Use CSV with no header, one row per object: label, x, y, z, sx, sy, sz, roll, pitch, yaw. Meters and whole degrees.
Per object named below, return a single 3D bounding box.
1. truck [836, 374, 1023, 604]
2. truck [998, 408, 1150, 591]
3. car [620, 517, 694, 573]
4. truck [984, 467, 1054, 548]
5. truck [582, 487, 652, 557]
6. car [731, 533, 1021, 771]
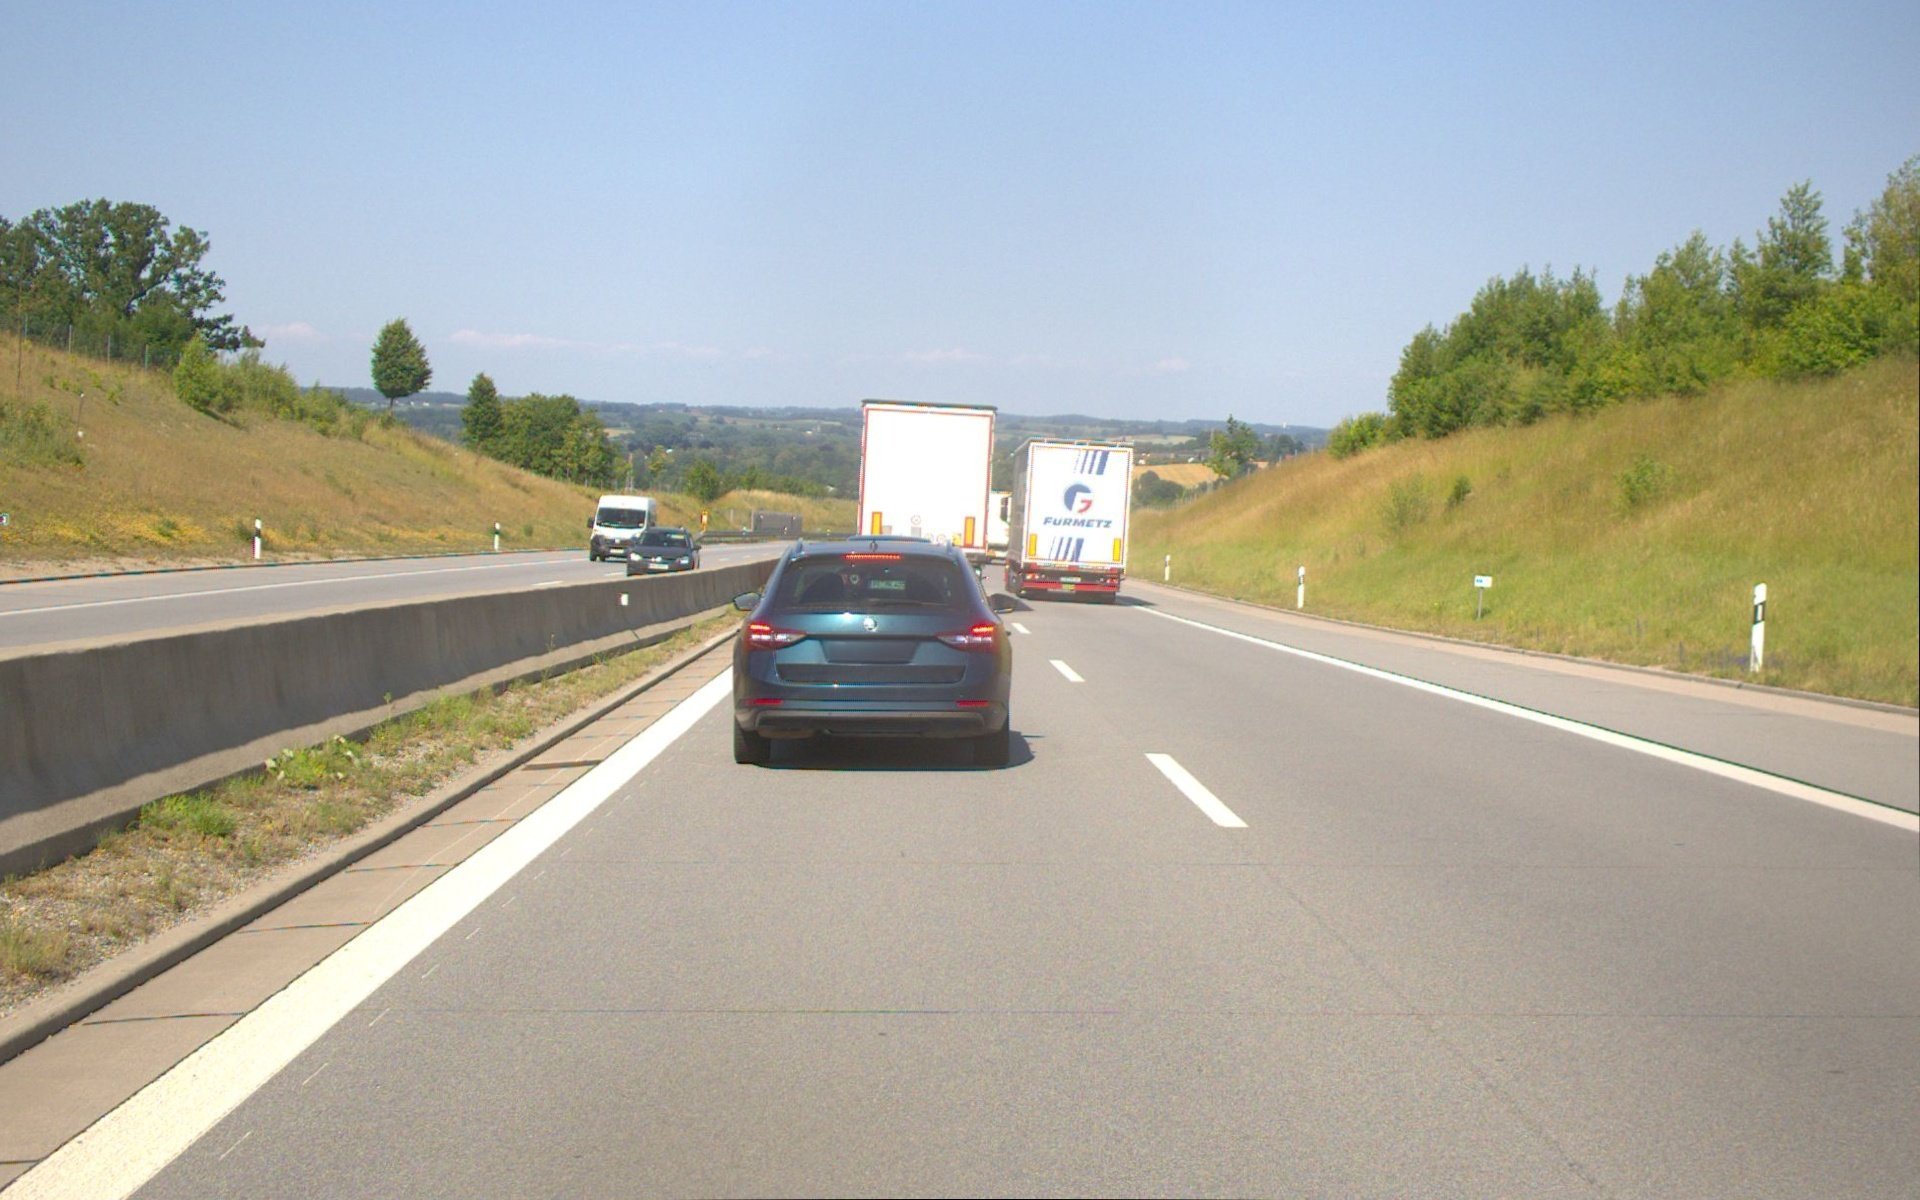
truck,-0.490,-2.265,71.623,3.211,4.366,11.233,1,1,3
truck,2.976,-2.569,88.773,3.604,4.366,11.233,1,1,2
car,-8.197,-1.501,93.208,1.773,1.444,4.184,2,1,-2
truck,3.390,-5.190,194.154,3.604,4.366,11.233,1,1,2
truck,-12.568,-2.863,126.350,1.993,2.440,5.668,2,1,-1
car,-0.566,0.283,23.040,1.776,1.436,3.789,0,1,-1
